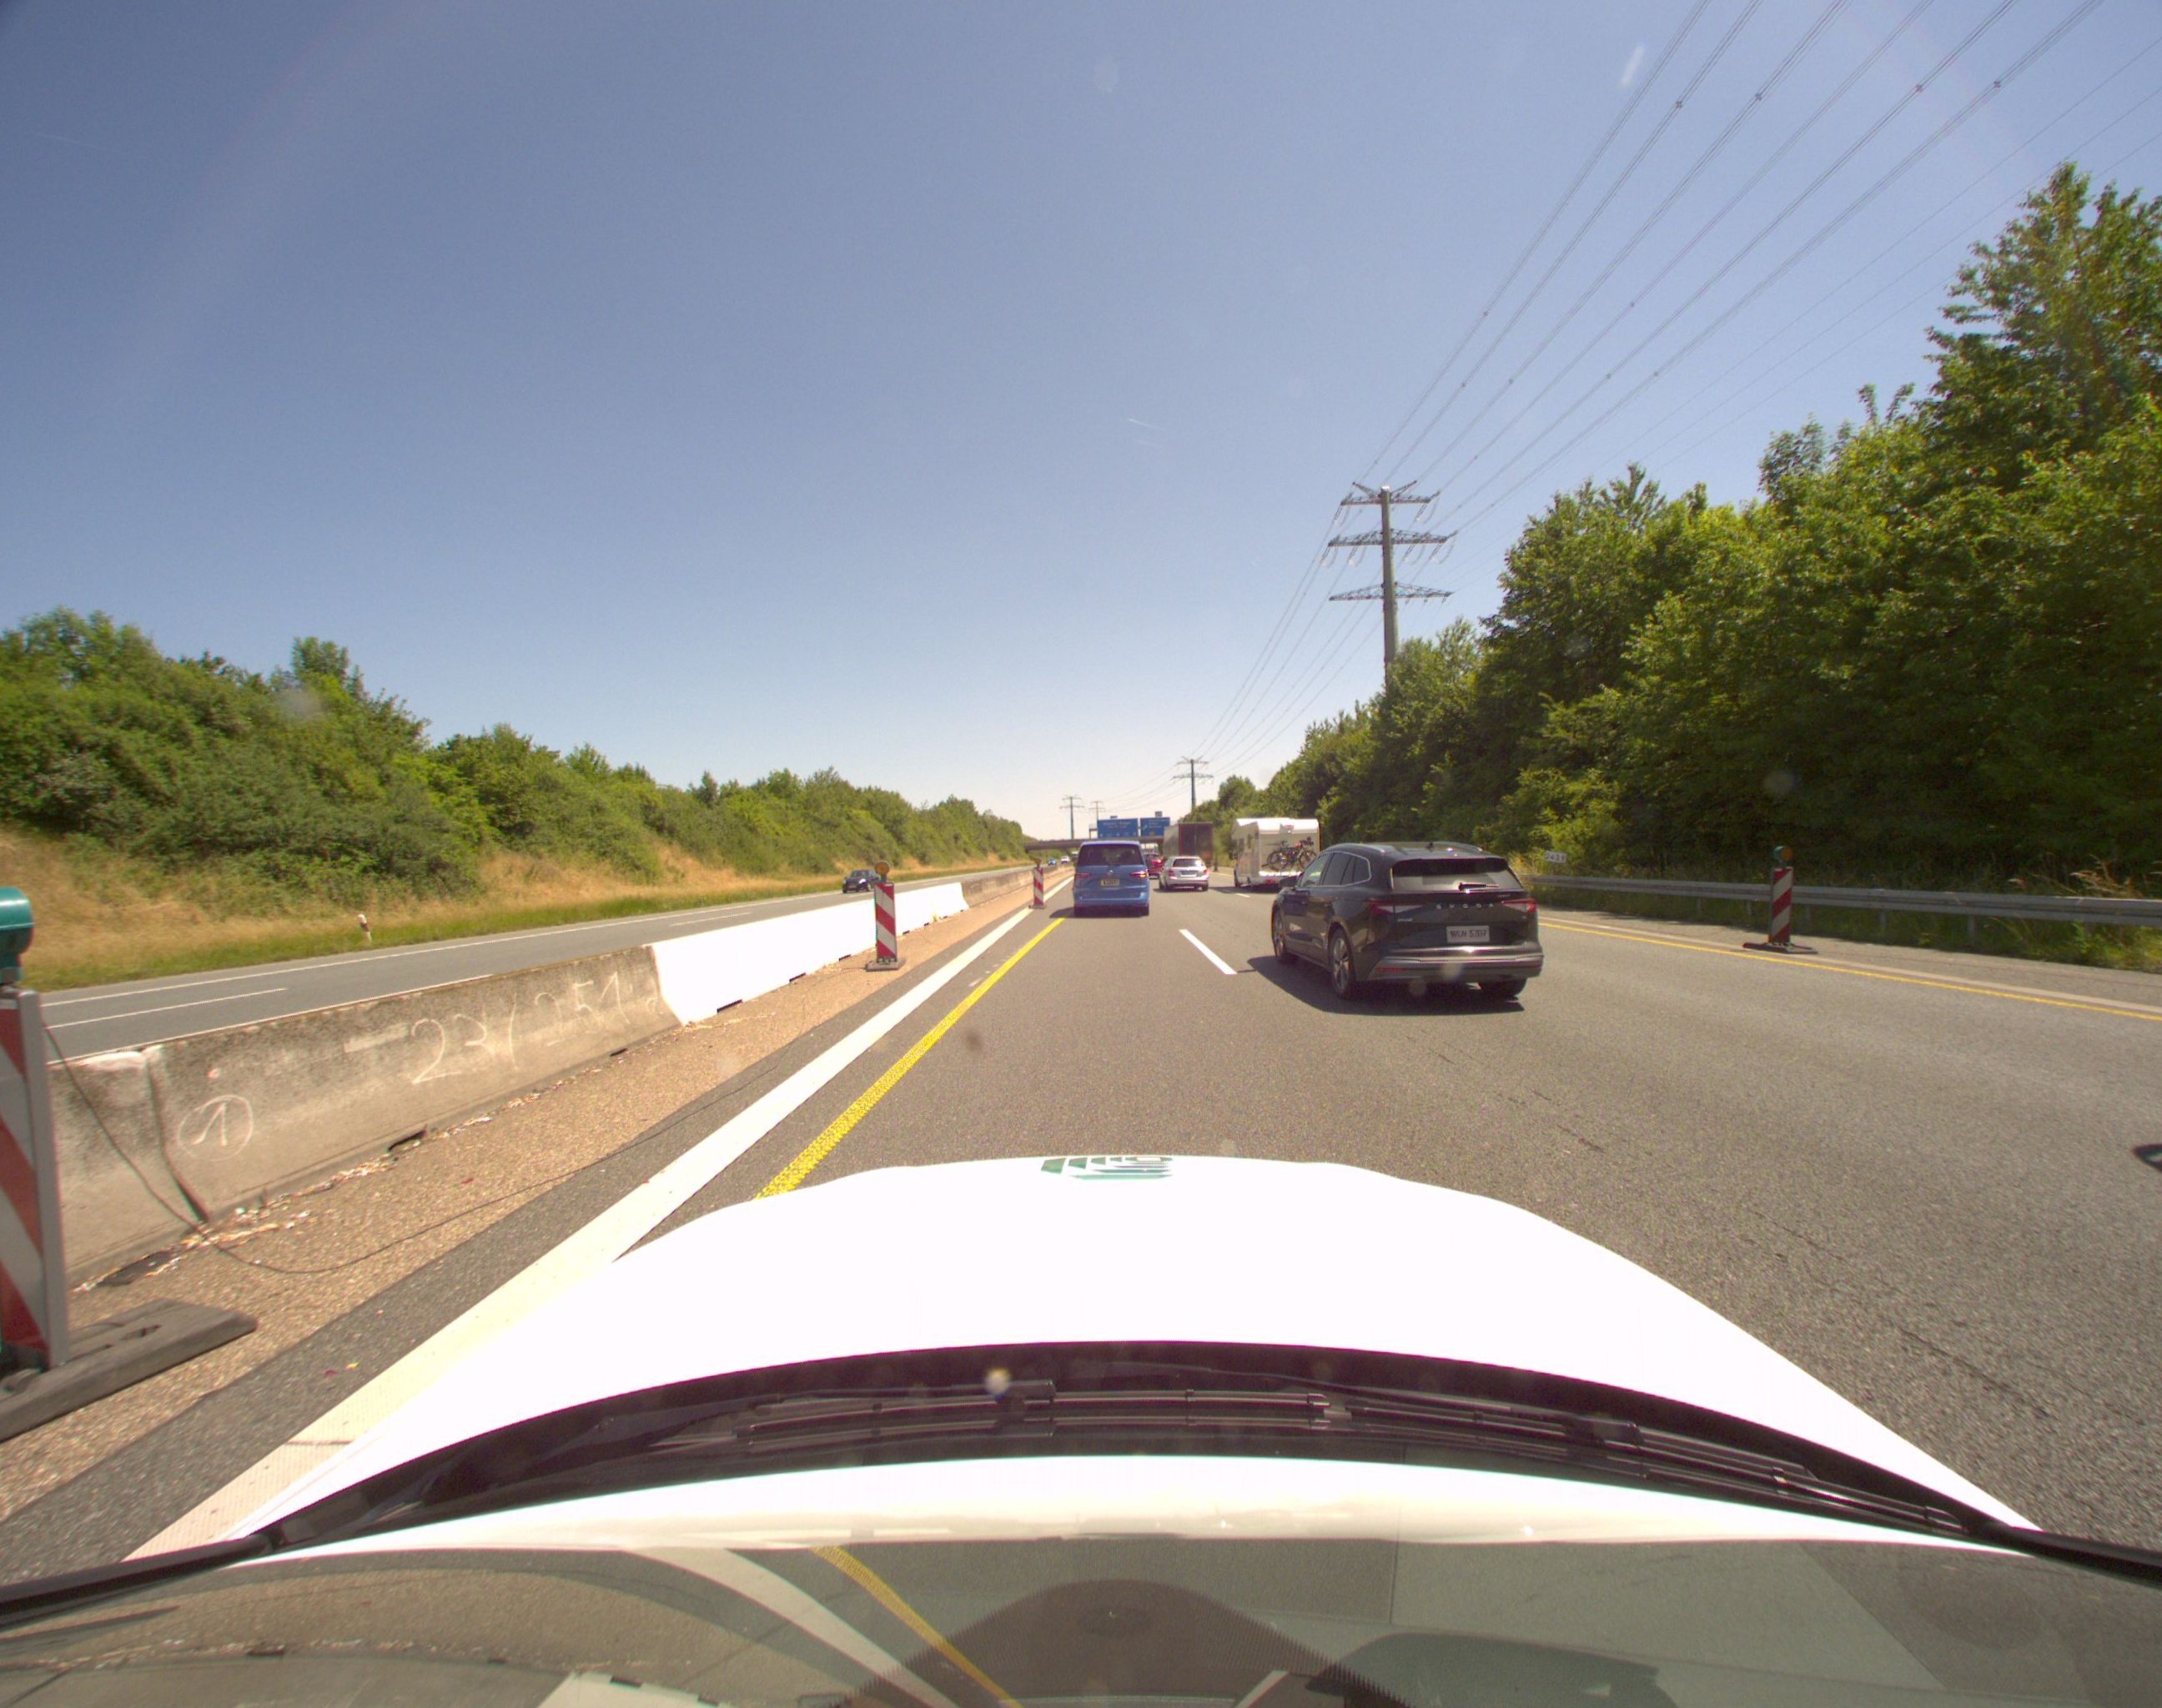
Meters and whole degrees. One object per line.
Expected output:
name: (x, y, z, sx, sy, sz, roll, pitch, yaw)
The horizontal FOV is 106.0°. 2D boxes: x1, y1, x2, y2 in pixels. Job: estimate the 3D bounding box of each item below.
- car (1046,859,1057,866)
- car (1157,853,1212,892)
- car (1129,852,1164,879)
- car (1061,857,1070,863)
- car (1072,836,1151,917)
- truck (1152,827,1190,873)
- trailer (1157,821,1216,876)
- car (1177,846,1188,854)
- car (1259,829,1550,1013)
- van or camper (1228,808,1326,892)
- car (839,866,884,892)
car: (-6.382, 1.746, 175.335, 1.985, 1.398, 4.003, -3, 0, 3)
car: (4.267, 0.727, 34.225, 1.765, 1.517, 4.359, 0, 0, 0)
car: (4.077, 0.704, 51.379, 1.868, 1.671, 4.359, 0, 0, 0)
car: (-4.088, 1.517, 215.550, 1.985, 1.398, 4.003, -3, 0, 3)
car: (0.750, 0.551, 21.610, 1.868, 1.912, 4.359, 0, 0, 0)
truck: (8.232, -0.359, 74.722, 2.725, 4.047, 5.790, 0, 0, -1)
trailer: (8.438, -0.390, 67.151, 2.776, 4.047, 13.102, 0, 0, -2)
car: (21.383, -0.796, 171.880, 1.868, 1.671, 4.359, 0, 0, 0)
car: (3.420, 0.616, 9.617, 1.695, 1.655, 4.429, 0, 0, 0)
van or camper: (7.798, -0.122, 33.352, 2.360, 3.043, 7.635, 0, 0, 2)
car: (-13.978, 1.565, 52.069, 1.703, 1.464, 3.849, -3, 0, 0)
